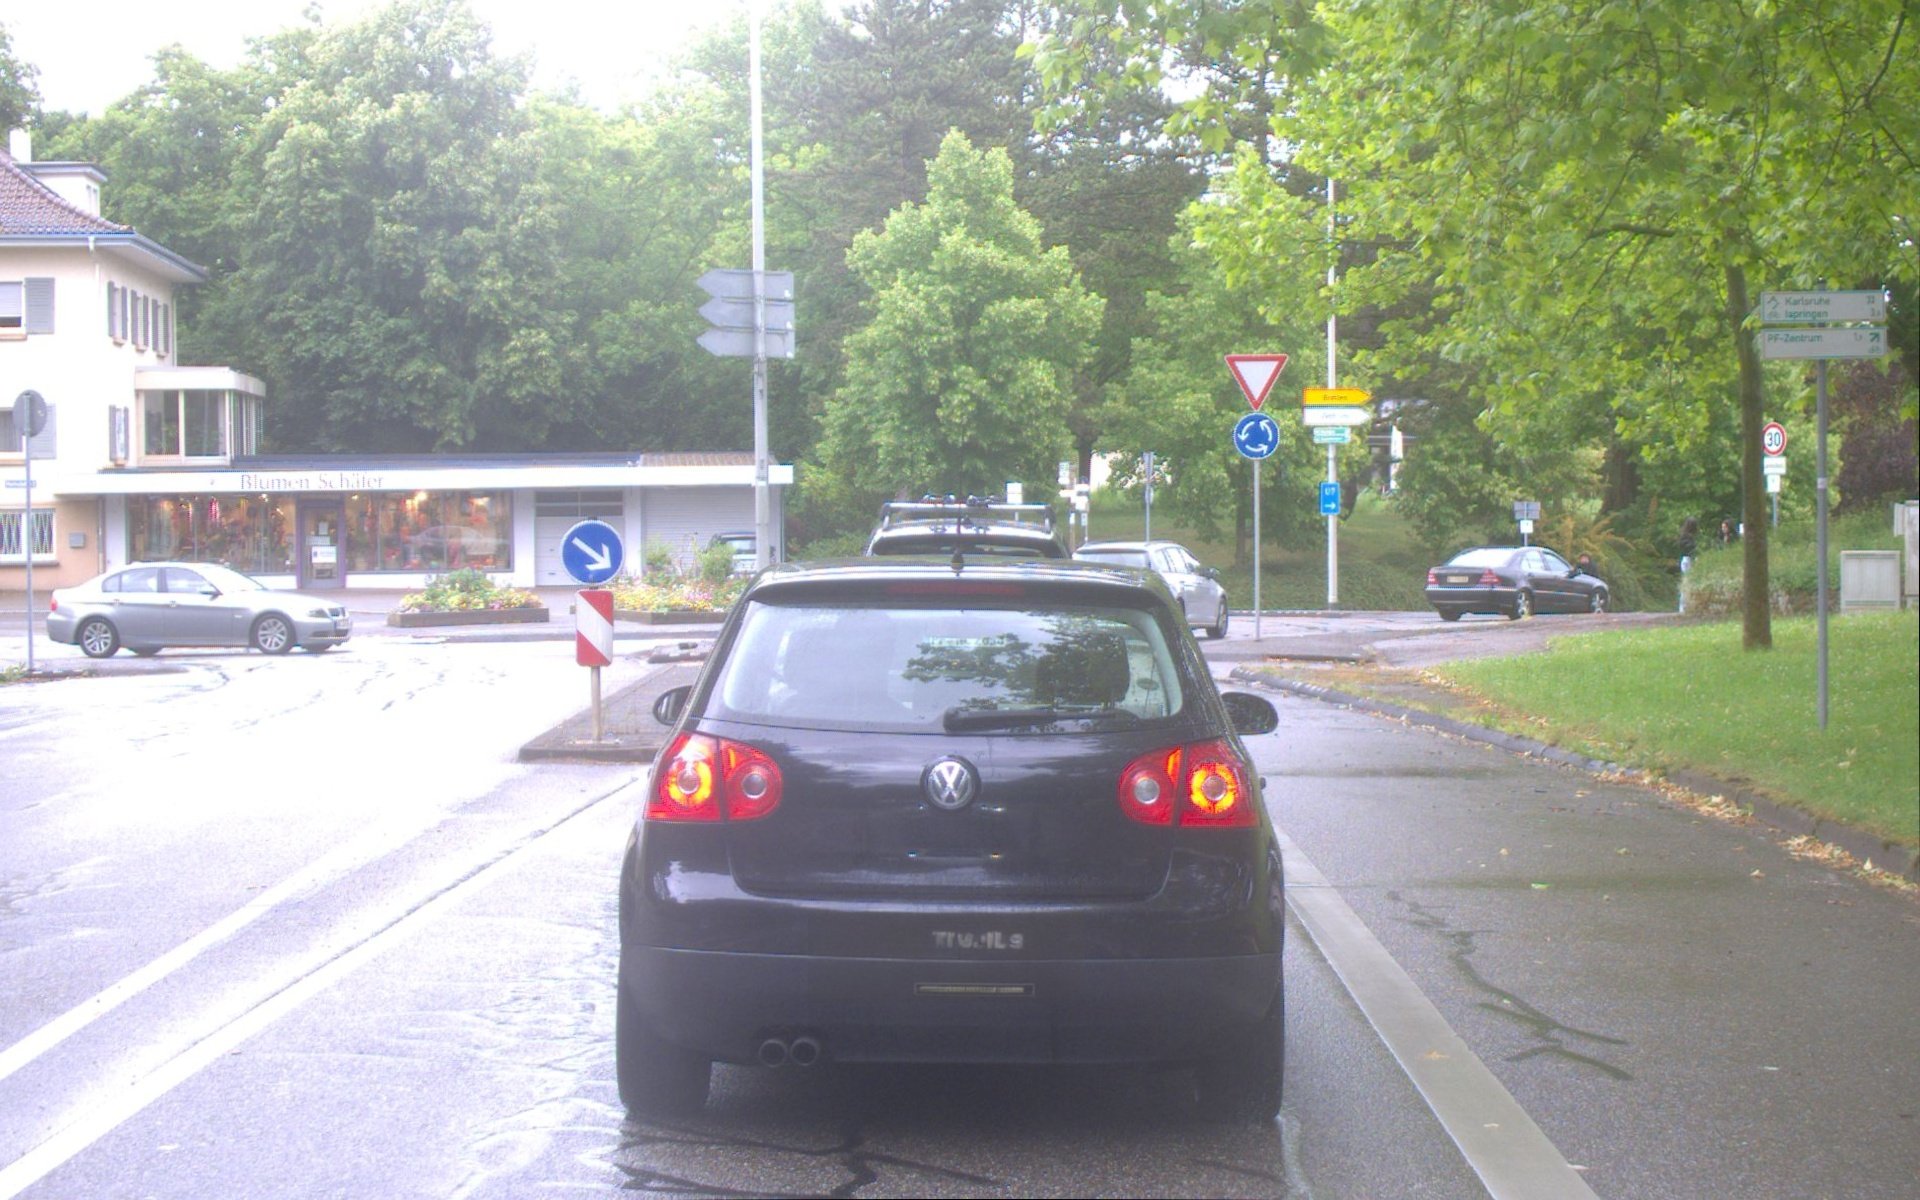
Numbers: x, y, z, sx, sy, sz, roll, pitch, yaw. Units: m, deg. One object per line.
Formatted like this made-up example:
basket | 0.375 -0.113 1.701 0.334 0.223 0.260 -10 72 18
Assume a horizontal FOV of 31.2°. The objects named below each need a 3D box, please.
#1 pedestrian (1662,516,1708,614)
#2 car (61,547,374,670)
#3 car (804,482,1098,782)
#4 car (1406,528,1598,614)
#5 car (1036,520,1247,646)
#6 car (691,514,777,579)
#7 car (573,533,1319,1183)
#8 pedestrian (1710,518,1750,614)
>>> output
pedestrian | 12.777 -0.620 60.590 0.528 1.707 0.636 1 0 -14
car | -10.928 0.117 50.719 4.021 1.678 1.999 -1 1 10
car | -0.103 0.174 23.237 1.764 1.795 4.246 -1 1 -1
car | 10.116 -0.524 64.006 1.997 1.525 3.992 1 1 34
car | 2.691 -0.251 50.078 1.995 1.735 4.140 1 1 19
car | -5.483 -1.298 83.103 1.812 1.481 3.832 -2 1 -7
car | -0.079 0.601 10.248 1.764 1.533 4.000 1 1 -1
pedestrian | 13.752 -0.604 61.381 0.634 1.707 0.529 1 0 16
